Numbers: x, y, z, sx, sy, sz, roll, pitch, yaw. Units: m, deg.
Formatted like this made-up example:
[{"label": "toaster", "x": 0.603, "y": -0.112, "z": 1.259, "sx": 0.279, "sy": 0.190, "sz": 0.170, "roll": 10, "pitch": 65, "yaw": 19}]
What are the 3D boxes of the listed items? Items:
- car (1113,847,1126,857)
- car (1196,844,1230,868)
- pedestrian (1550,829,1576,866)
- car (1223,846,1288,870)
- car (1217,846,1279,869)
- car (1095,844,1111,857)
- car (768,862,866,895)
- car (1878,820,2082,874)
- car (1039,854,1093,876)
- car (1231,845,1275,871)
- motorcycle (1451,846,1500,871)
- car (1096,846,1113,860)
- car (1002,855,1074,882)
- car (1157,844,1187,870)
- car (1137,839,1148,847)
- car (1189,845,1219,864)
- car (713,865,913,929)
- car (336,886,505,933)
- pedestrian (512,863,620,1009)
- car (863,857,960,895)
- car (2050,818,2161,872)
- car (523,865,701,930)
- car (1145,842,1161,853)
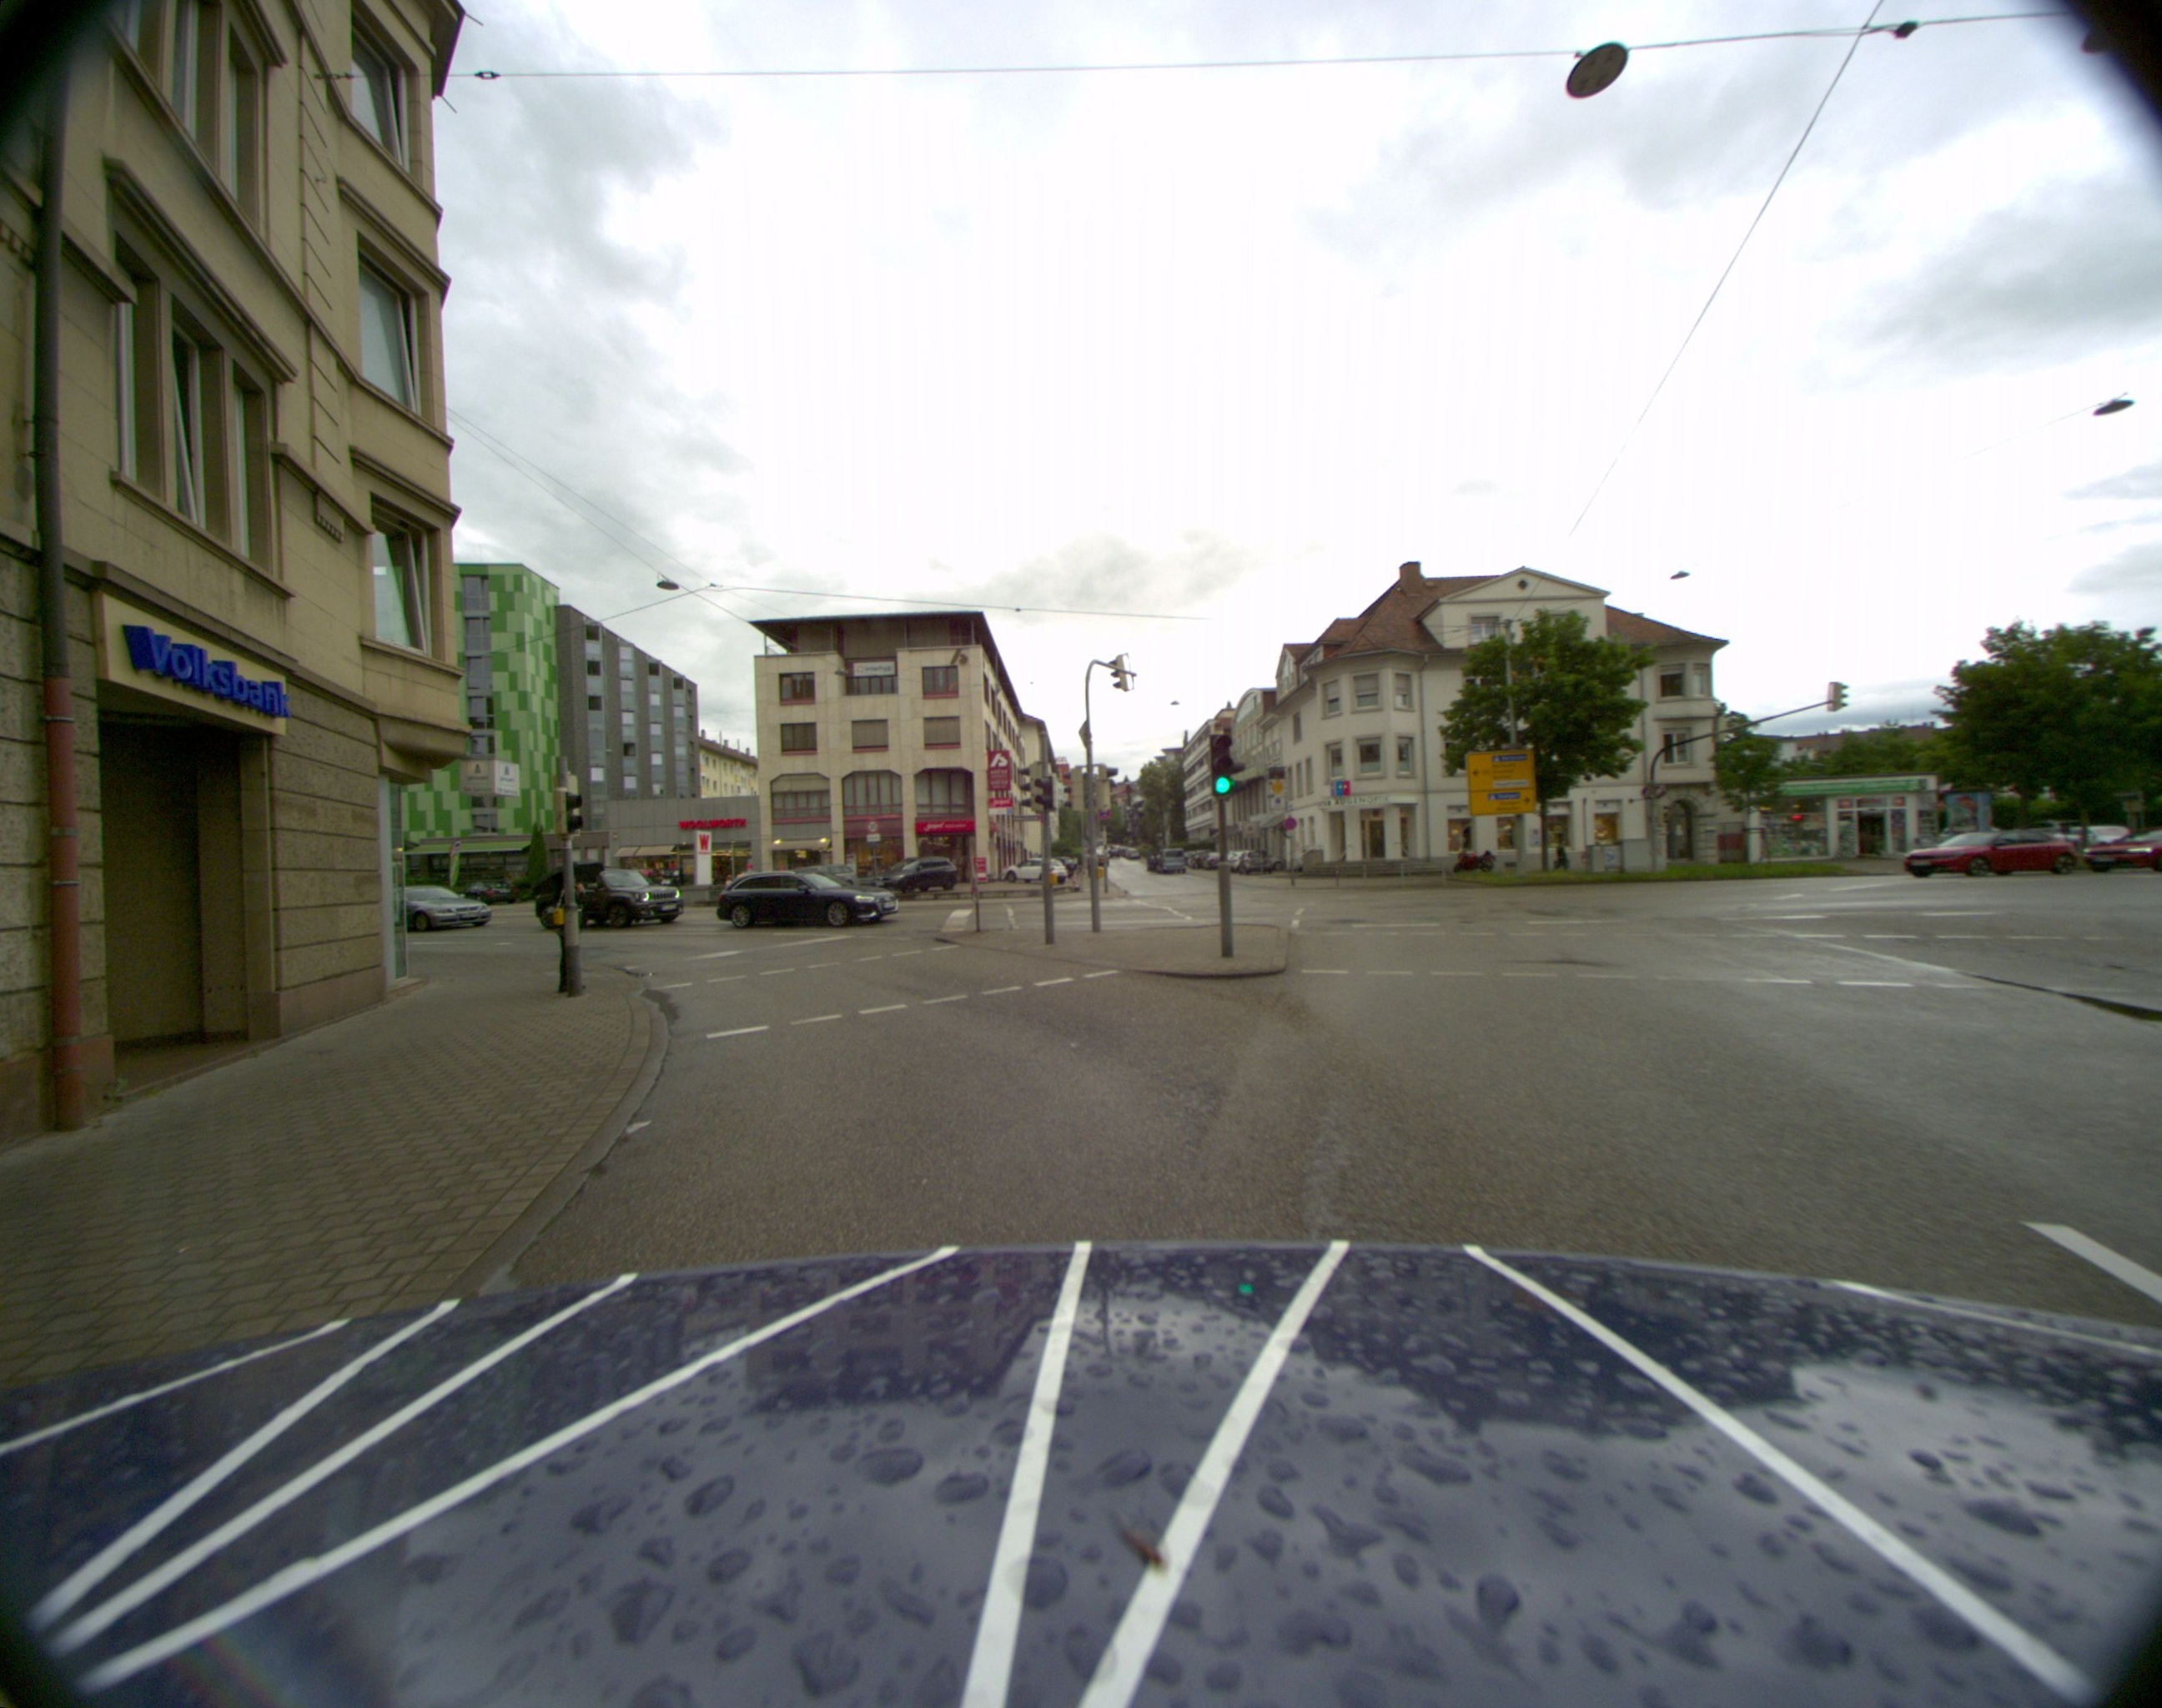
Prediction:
[{"label": "car", "x": 6.467, "y": -0.419, "z": 128.087, "sx": 1.998, "sy": 1.576, "sz": 4.659, "roll": -2, "pitch": 1, "yaw": 1}, {"label": "car", "x": 10.624, "y": 0.133, "z": 61.364, "sx": 1.998, "sy": 1.576, "sz": 4.000, "roll": -8, "pitch": 1, "yaw": 1}, {"label": "pedestrian", "x": 22.429, "y": -0.304, "z": 35.359, "sx": 0.754, "sy": 1.719, "sz": 0.682, "roll": -2, "pitch": 1, "yaw": 5}, {"label": "car", "x": 12.013, "y": 0.280, "z": 52.516, "sx": 3.997, "sy": 1.499, "sz": 2.000, "roll": -2, "pitch": 1, "yaw": -1}, {"label": "car", "x": 12.046, "y": 0.254, "z": 55.107, "sx": 3.997, "sy": 1.499, "sz": 2.000, "roll": -2, "pitch": 1, "yaw": -1}, {"label": "car", "x": 2.899, "y": -0.451, "z": 101.360, "sx": 1.998, "sy": 1.576, "sz": 4.659, "roll": -2, "pitch": 1, "yaw": 1}, {"label": "car", "x": -12.611, "y": 1.159, "z": 36.568, "sx": 1.928, "sy": 1.353, "sz": 4.207, "roll": -2, "pitch": 1, "yaw": 29}, {"label": "car", "x": 28.569, "y": -0.229, "z": 24.261, "sx": 4.035, "sy": 1.509, "sz": 2.025, "roll": -2, "pitch": 1, "yaw": 2}, {"label": "car", "x": -1.142, "y": 0.834, "z": 59.623, "sx": 3.996, "sy": 1.499, "sz": 2.000, "roll": -2, "pitch": 1, "yaw": 2}, {"label": "car", "x": 10.908, "y": 0.228, "z": 48.484, "sx": 1.998, "sy": 1.499, "sz": 4.000, "roll": -2, "pitch": 1, "yaw": 2}, {"label": "motorcycle", "x": 19.554, "y": 0.205, "z": 37.700, "sx": 2.011, "sy": 1.142, "sz": 0.719, "roll": -2, "pitch": 1, "yaw": 3}, {"label": "car", "x": 2.929, "y": -0.160, "z": 95.986, "sx": 1.998, "sy": 1.576, "sz": 4.659, "roll": -2, "pitch": 1, "yaw": 1}, {"label": "car", "x": -2.603, "y": 0.892, "z": 45.623, "sx": 3.989, "sy": 1.486, "sz": 1.804, "roll": -2, "pitch": 1, "yaw": 33}, {"label": "car", "x": 7.281, "y": 0.201, "z": 61.181, "sx": 1.998, "sy": 1.904, "sz": 4.000, "roll": -2, "pitch": 1, "yaw": 1}, {"label": "car", "x": 12.354, "y": -2.241, "z": 152.439, "sx": 1.998, "sy": 1.576, "sz": 4.659, "roll": -2, "pitch": 1, "yaw": 1}, {"label": "car", "x": 10.803, "y": 0.005, "z": 67.117, "sx": 1.998, "sy": 1.576, "sz": 4.000, "roll": -2, "pitch": 1, "yaw": 1}, {"label": "car", "x": -6.839, "y": 1.094, "z": 19.482, "sx": 4.520, "sy": 1.409, "sz": 1.935, "roll": -2, "pitch": 1, "yaw": 18}, {"label": "car", "x": -20.663, "y": 1.731, "z": 23.832, "sx": 4.192, "sy": 1.275, "sz": 1.935, "roll": -2, "pitch": 1, "yaw": 15}, {"label": "pedestrian", "x": -6.838, "y": 1.027, "z": 10.167, "sx": 0.956, "sy": 1.769, "sz": 1.182, "roll": -3, "pitch": 1, "yaw": -26}, {"label": "car", "x": -7.739, "y": 0.974, "z": 35.050, "sx": 1.928, "sy": 1.540, "sz": 4.265, "roll": -2, "pitch": 1, "yaw": 31}, {"label": "car", "x": 34.073, "y": -0.333, "z": 24.091, "sx": 4.035, "sy": 1.575, "sz": 2.024, "roll": -2, "pitch": 1, "yaw": 2}, {"label": "car", "x": -13.445, "y": 1.244, "z": 21.864, "sx": 4.192, "sy": 1.651, "sz": 1.935, "roll": -2, "pitch": 1, "yaw": 15}, {"label": "car", "x": 11.046, "y": -1.023, "z": 117.136, "sx": 1.998, "sy": 1.576, "sz": 4.659, "roll": -2, "pitch": 1, "yaw": 1}]
